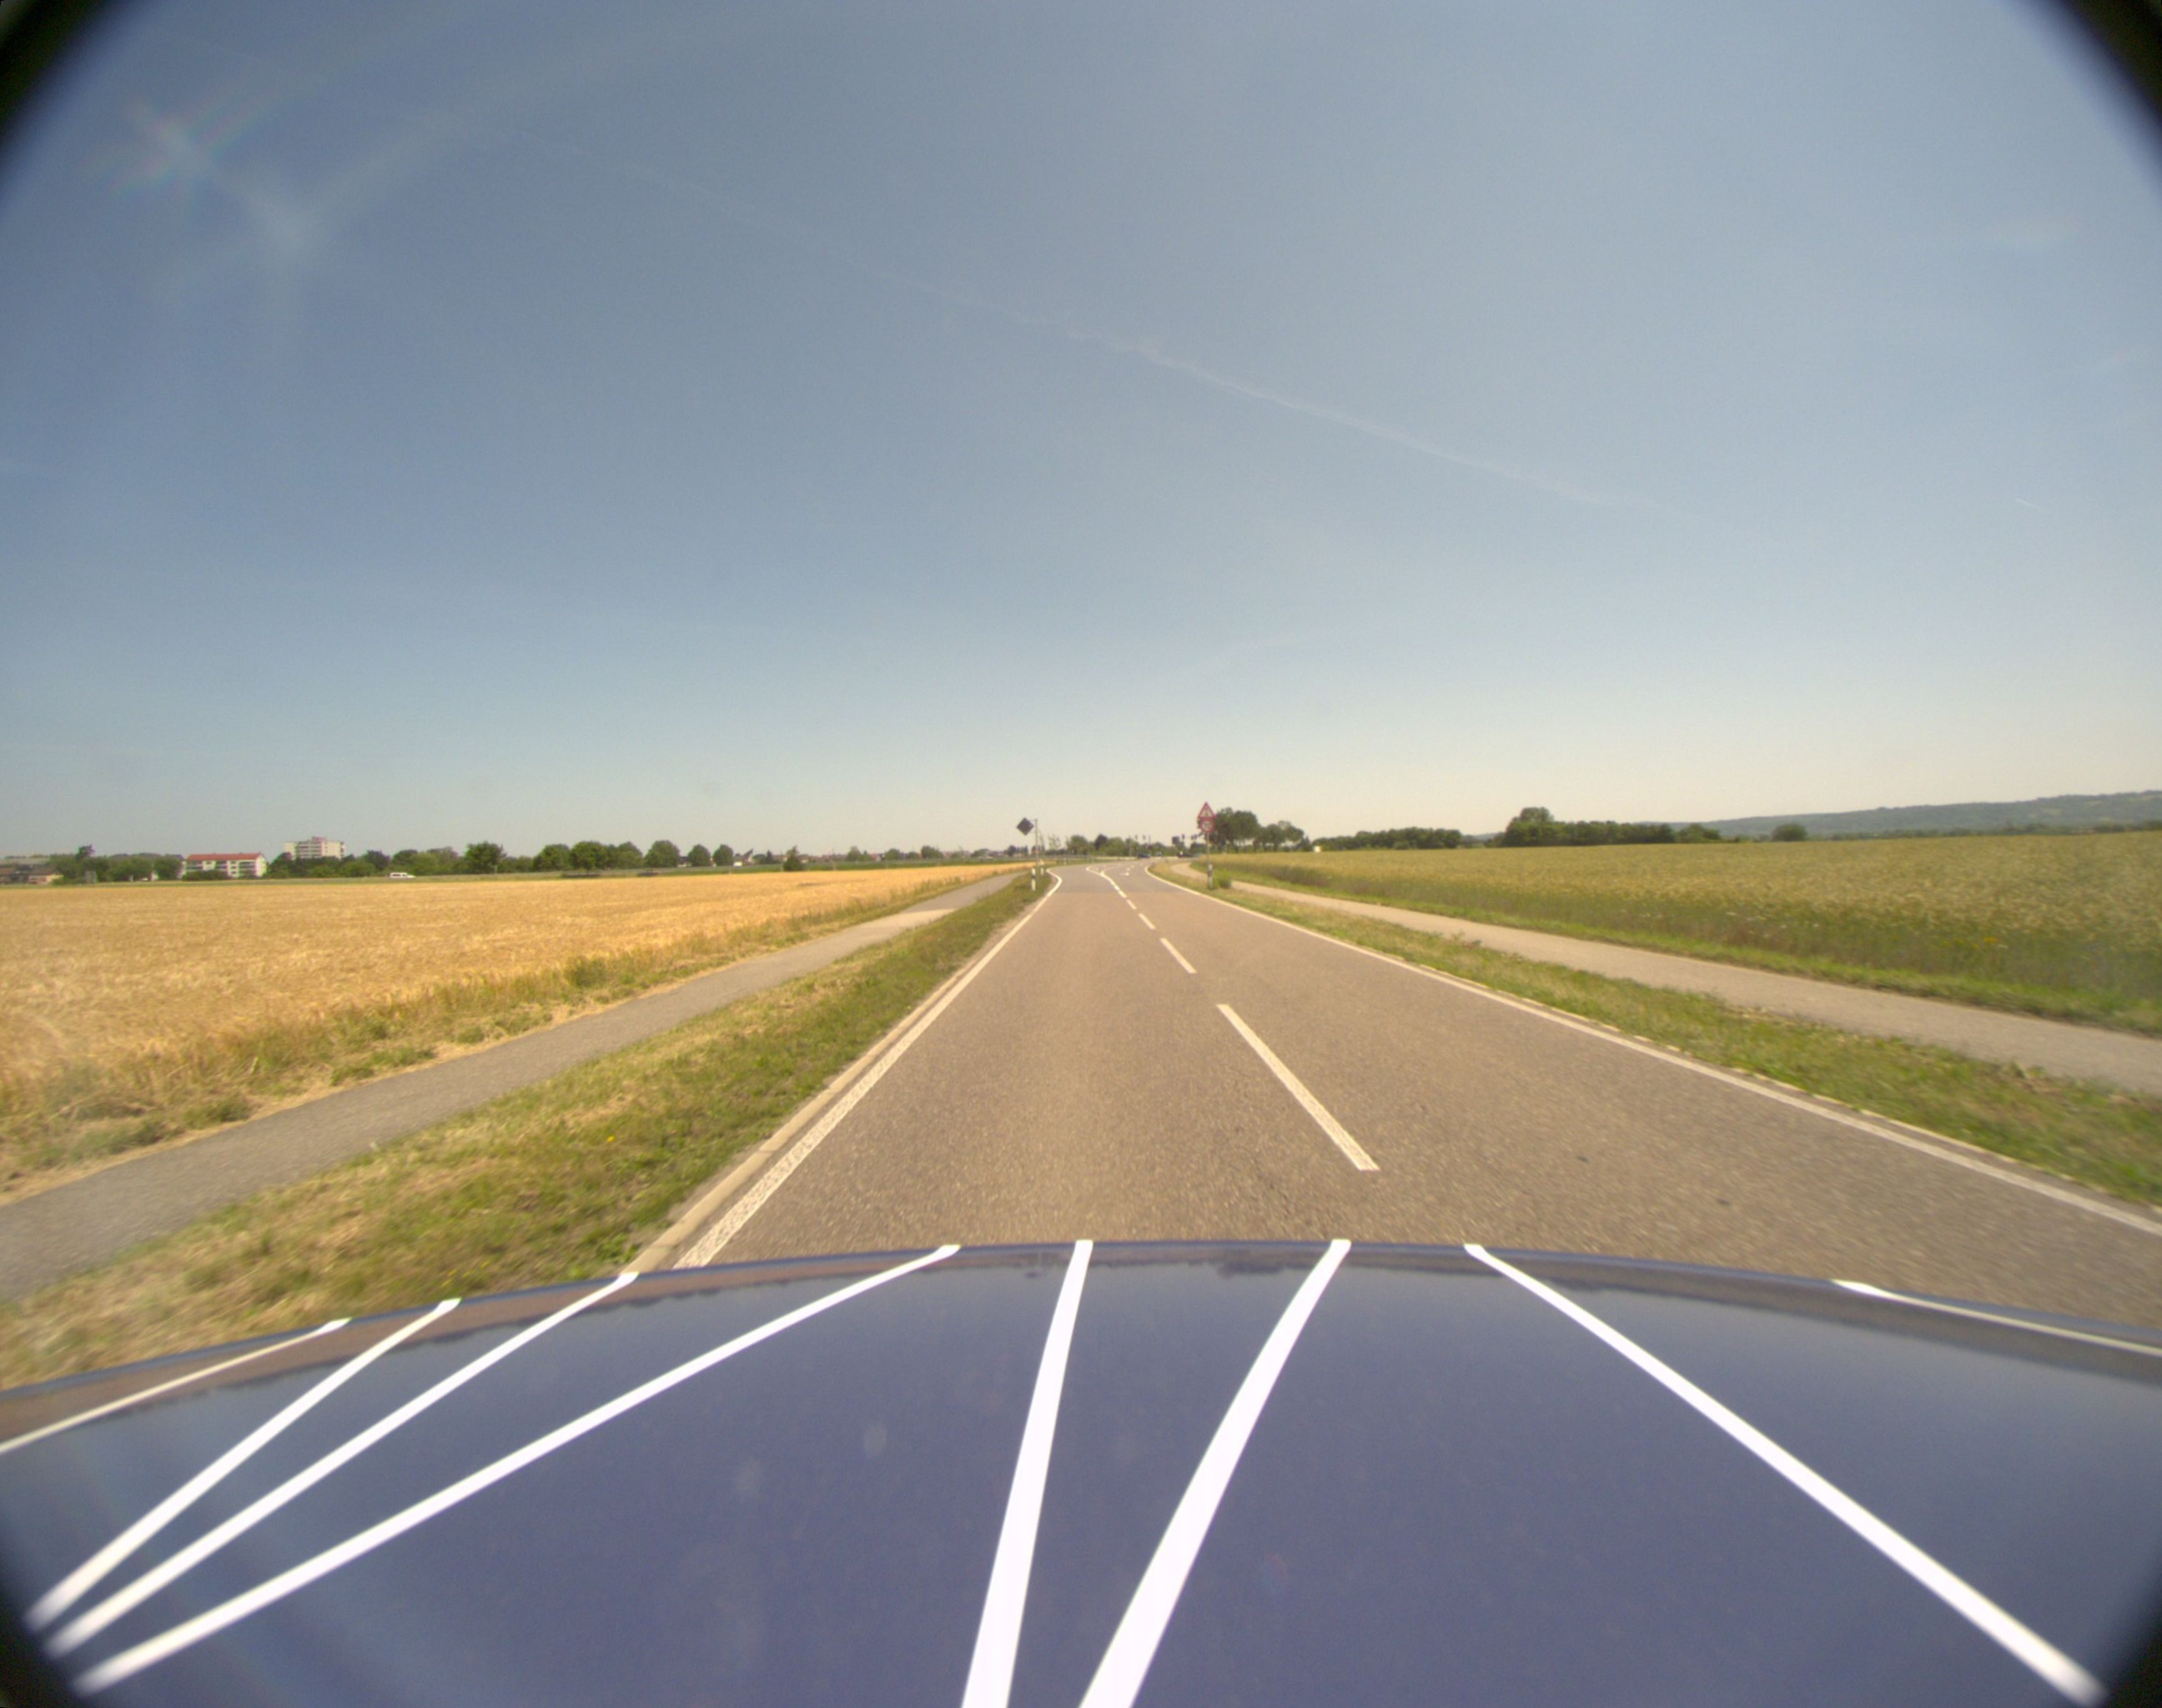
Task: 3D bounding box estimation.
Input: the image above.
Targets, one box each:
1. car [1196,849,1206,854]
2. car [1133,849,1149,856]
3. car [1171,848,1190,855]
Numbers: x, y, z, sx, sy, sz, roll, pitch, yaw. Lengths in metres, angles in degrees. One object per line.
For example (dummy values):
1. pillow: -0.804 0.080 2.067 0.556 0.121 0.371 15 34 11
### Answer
1. car: 35.108 -0.778 221.970 1.654 1.557 4.007 0 1 28
2. car: 15.738 -0.480 200.341 3.913 1.797 1.922 -2 1 13
3. car: 26.288 -0.735 200.898 4.525 1.631 1.813 -1 2 -5
